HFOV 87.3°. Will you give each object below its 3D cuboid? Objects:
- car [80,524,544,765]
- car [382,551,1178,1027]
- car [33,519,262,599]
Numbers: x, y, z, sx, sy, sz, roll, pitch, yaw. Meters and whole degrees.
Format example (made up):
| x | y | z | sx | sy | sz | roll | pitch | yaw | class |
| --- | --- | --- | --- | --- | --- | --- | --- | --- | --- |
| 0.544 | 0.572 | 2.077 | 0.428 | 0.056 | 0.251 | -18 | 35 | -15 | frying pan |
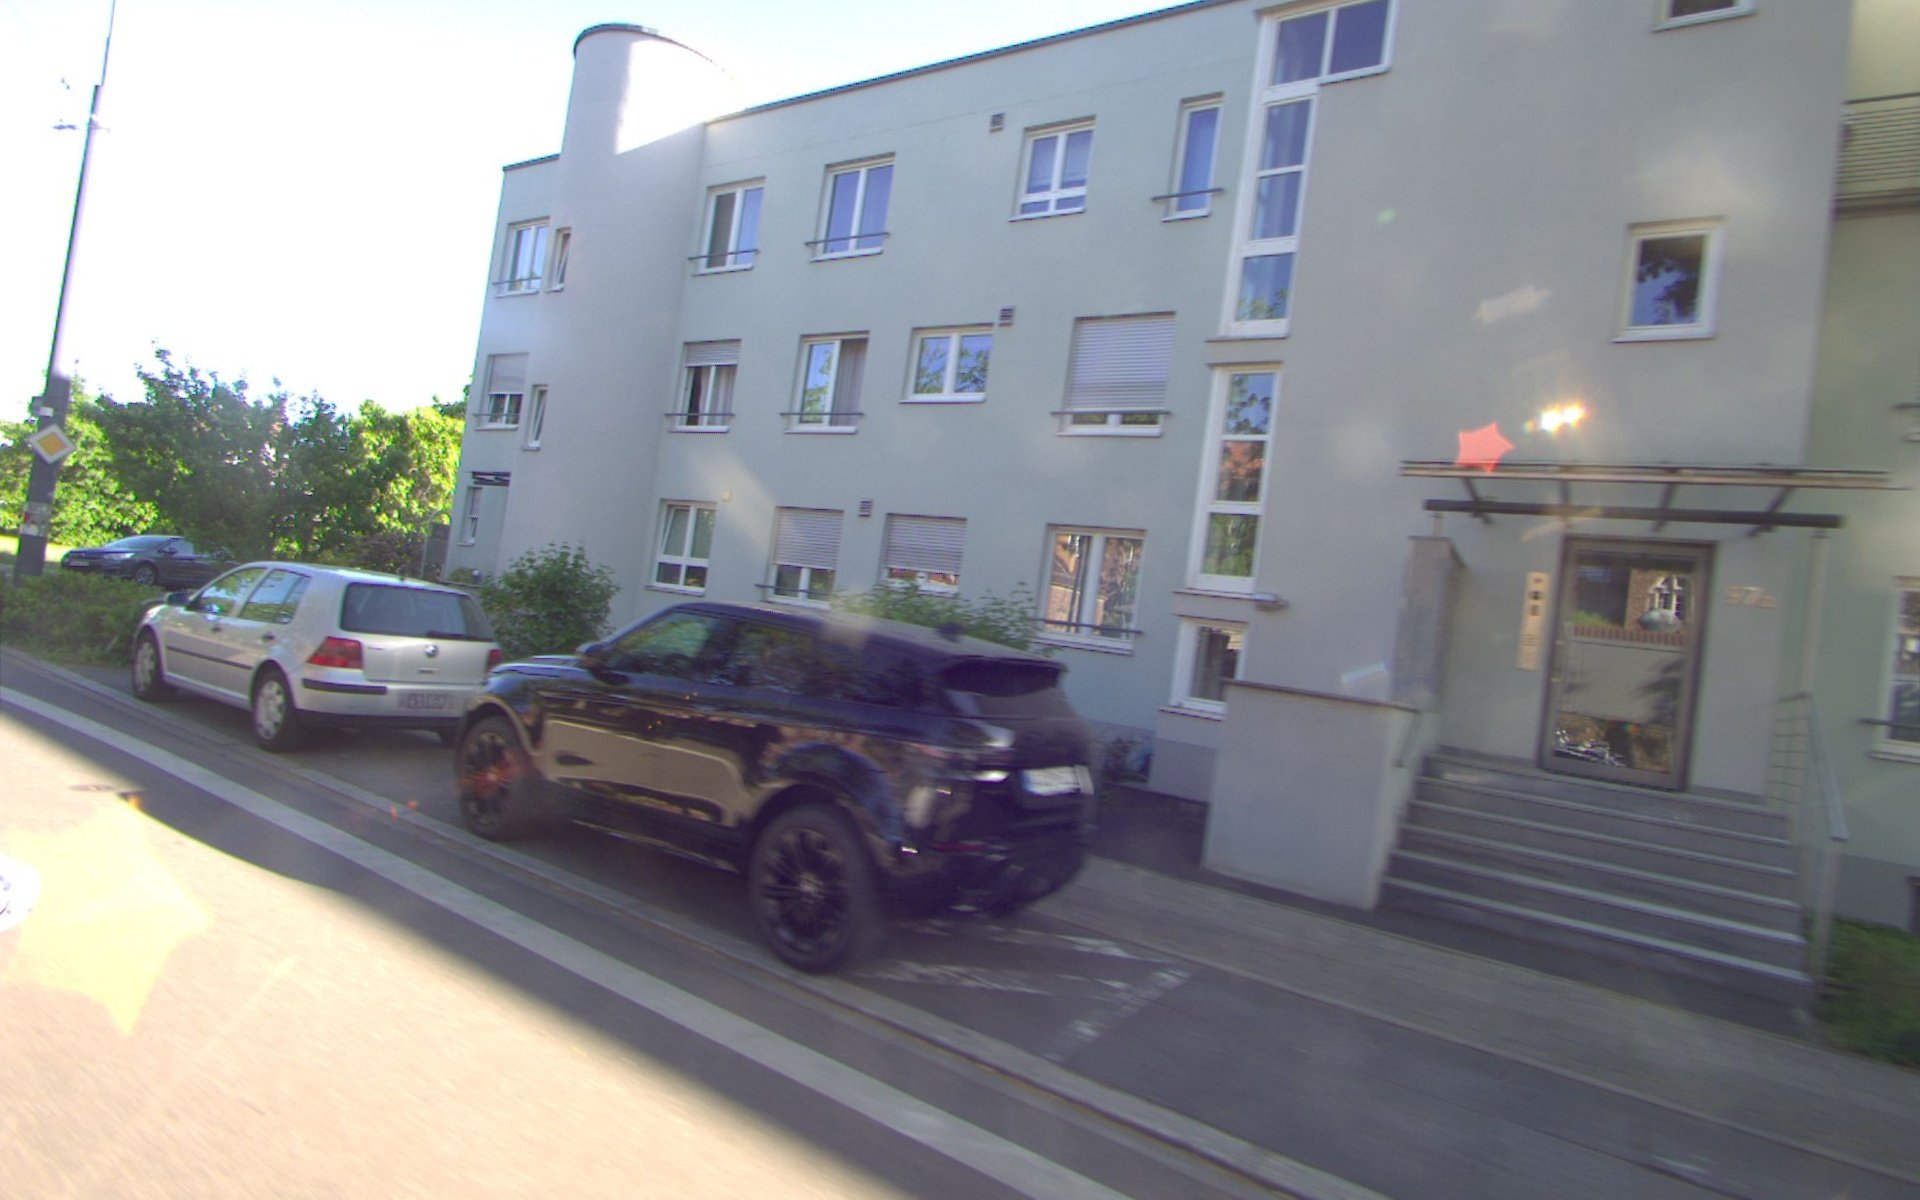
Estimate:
| x | y | z | sx | sy | sz | roll | pitch | yaw | class |
| --- | --- | --- | --- | --- | --- | --- | --- | --- | --- |
| -6.016 | 0.333 | 9.177 | 4.456 | 1.512 | 1.742 | 6 | -3 | 33 | car |
| -1.266 | 0.796 | 6.139 | 4.527 | 1.635 | 1.996 | 6 | -2 | 34 | car |
| -20.800 | -0.989 | 26.058 | 1.970 | 1.507 | 4.468 | 4 | -3 | 5 | car |
